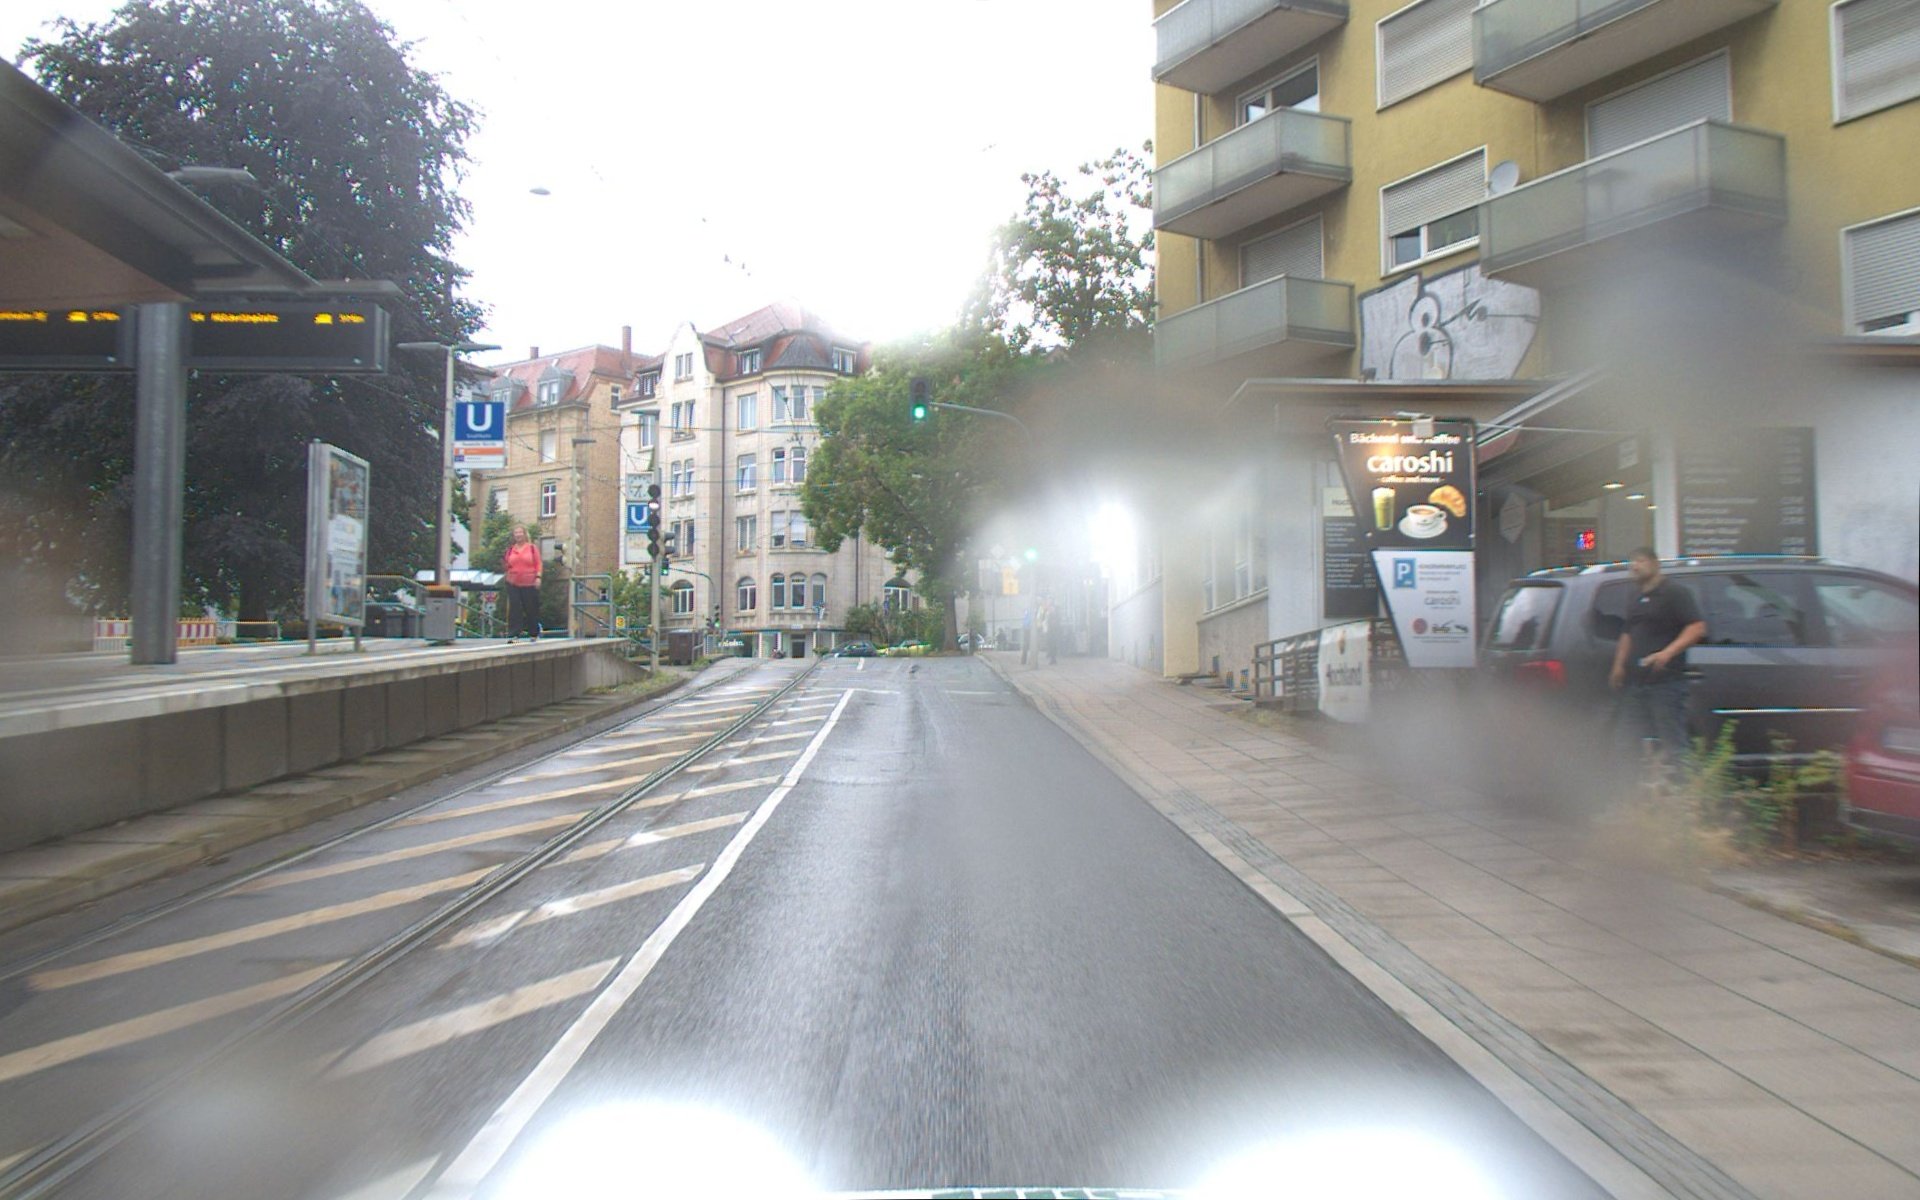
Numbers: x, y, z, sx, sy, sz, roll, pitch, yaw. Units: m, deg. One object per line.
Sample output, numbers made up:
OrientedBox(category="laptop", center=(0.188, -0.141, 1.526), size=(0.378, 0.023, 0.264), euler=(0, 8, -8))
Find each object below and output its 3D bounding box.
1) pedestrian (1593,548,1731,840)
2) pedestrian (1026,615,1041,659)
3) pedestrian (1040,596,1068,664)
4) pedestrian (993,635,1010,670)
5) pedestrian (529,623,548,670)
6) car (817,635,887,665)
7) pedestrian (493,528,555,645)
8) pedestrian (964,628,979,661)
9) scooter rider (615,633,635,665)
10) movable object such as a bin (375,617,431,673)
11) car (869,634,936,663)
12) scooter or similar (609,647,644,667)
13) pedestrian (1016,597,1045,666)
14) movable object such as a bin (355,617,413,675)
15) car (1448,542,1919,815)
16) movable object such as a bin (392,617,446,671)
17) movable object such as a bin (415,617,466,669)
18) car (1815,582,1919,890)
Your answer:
OrientedBox(category="pedestrian", center=(4.368, 0.571, 10.328), size=(0.593, 1.744, 0.722), euler=(-2, -1, 11))
OrientedBox(category="pedestrian", center=(2.020, 1.020, 45.452), size=(0.318, 1.170, 0.317), euler=(-3, -1, -5))
OrientedBox(category="pedestrian", center=(2.220, 0.707, 38.988), size=(0.535, 1.581, 0.558), euler=(-2, -1, -4))
OrientedBox(category="pedestrian", center=(2.004, 2.526, 79.374), size=(0.539, 1.658, 0.594), euler=(2, -2, -35))
OrientedBox(category="pedestrian", center=(-15.595, 1.733, 61.211), size=(0.557, 1.714, 0.774), euler=(-1, -3, -9))
OrientedBox(category="car", center=(-6.018, 2.801, 92.600), size=(3.642, 1.534, 1.710), euler=(0, -2, -44))
OrientedBox(category="pedestrian", center=(-5.991, -0.178, 22.759), size=(0.657, 1.575, 0.771), euler=(0, -1, -2))
OrientedBox(category="pedestrian", center=(0.568, 2.142, 80.037), size=(0.589, 1.593, 0.544), euler=(2, -1, -12))
OrientedBox(category="scooter rider", center=(-19.202, 2.807, 94.821), size=(0.824, 1.736, 0.624), euler=(0, -7, 26))
OrientedBox(category="movable object such as a bin", center=(-15.151, 1.220, 45.044), size=(1.000, 1.459, 1.355), euler=(1, -1, 0))
OrientedBox(category="car", center=(-3.322, 2.784, 95.499), size=(3.642, 1.534, 1.710), euler=(0, -2, -44))
OrientedBox(category="scooter or similar", center=(-19.069, 3.272, 94.645), size=(1.963, 1.068, 0.514), euler=(0, -6, 26))
OrientedBox(category="pedestrian", center=(1.650, 0.737, 38.574), size=(0.576, 1.581, 0.649), euler=(-2, -1, -2))
OrientedBox(category="movable object such as a bin", center=(-15.144, 1.202, 43.531), size=(1.000, 1.459, 1.304), euler=(1, -1, 0))
OrientedBox(category="car", center=(5.807, 0.489, 11.578), size=(4.239, 1.703, 1.780), euler=(-1, 0, 1))
OrientedBox(category="movable object such as a bin", center=(-15.226, 1.238, 46.579), size=(1.000, 1.459, 1.444), euler=(1, -1, 0))
OrientedBox(category="movable object such as a bin", center=(-15.180, 1.250, 48.381), size=(1.000, 1.459, 1.427), euler=(1, -1, 0))
OrientedBox(category="car", center=(6.776, 0.592, 7.883), size=(4.477, 1.463, 1.764), euler=(-1, -2, -2))
